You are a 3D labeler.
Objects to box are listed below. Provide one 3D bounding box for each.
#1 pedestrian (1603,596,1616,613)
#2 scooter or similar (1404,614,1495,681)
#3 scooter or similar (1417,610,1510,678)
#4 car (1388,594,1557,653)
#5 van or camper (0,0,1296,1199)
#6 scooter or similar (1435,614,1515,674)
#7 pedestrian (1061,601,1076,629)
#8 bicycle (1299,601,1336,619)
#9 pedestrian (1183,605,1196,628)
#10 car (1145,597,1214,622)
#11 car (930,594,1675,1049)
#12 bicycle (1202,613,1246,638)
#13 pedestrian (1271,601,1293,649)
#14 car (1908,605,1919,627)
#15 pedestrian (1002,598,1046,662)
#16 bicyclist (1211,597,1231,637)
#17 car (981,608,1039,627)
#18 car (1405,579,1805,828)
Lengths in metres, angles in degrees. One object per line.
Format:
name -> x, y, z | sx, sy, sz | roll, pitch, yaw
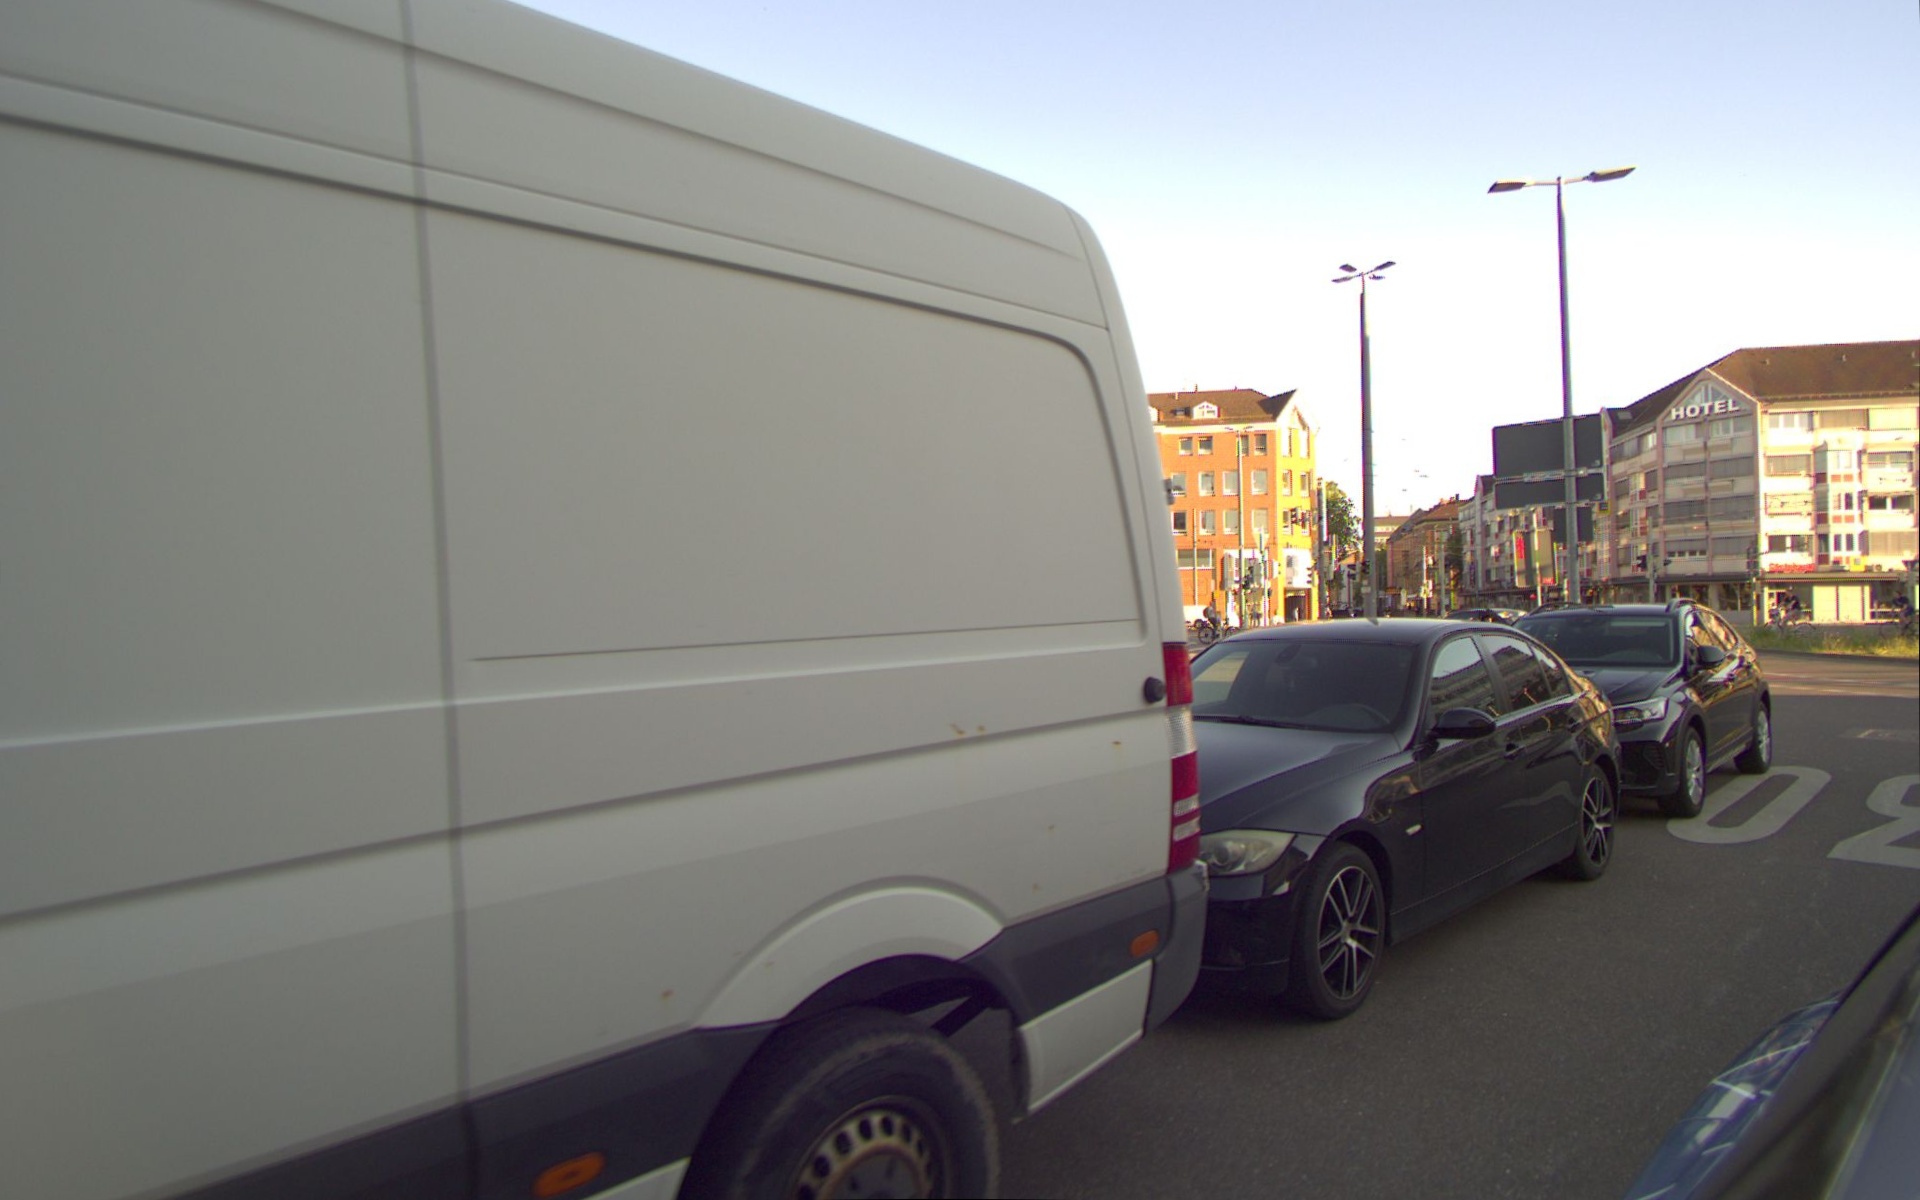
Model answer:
pedestrian -> 61.425, 0.450, 95.704 | 0.696, 1.568, 0.904 | -1, -1, 11
scooter or similar -> 9.733, 0.923, 20.168 | 0.600, 1.276, 1.527 | 0, -2, -33
scooter or similar -> 10.174, 0.878, 20.511 | 0.452, 1.309, 1.653 | 0, -1, -33
car -> 15.417, 0.676, 30.714 | 1.903, 1.638, 4.400 | 0, 0, -22
van or camper -> -2.220, 0.105, 1.528 | 6.334, 2.810, 2.081 | -1, -1, -39
scooter or similar -> 10.575, 0.886, 20.808 | 0.452, 1.181, 1.404 | 0, -1, -33
pedestrian -> 6.202, 0.836, 57.700 | 0.631, 1.561, 0.700 | -1, -1, 29
bicycle -> 34.520, 0.946, 97.838 | 3.259, 1.748, 1.064 | -1, -1, 14
pedestrian -> 18.566, 1.326, 81.811 | 0.858, 1.801, 0.916 | -1, 0, 7
car -> 16.944, 0.775, 78.043 | 4.829, 1.862, 1.981 | -1, -2, 28
car -> 2.090, 0.716, 5.340 | 4.395, 1.448, 1.731 | 0, -1, -41
bicycle -> 11.276, 1.080, 43.259 | 1.819, 1.036, 0.594 | -1, -1, 13
pedestrian -> 11.033, 0.850, 34.687 | 0.681, 1.634, 0.592 | -1, -1, 20
car -> 65.563, 1.043, 66.969 | 3.833, 1.440, 1.644 | 0, -1, 10
pedestrian -> 1.773, 0.821, 28.102 | 0.805, 1.758, 0.945 | 0, -1, -30
bicyclist -> 11.171, 0.718, 43.293 | 0.737, 1.692, 0.594 | -2, 0, 13
car -> 3.960, 1.378, 80.312 | 4.486, 1.467, 1.812 | -1, 0, 8
car -> 5.537, 0.659, 8.454 | 4.218, 1.563, 1.780 | 0, -1, -43
